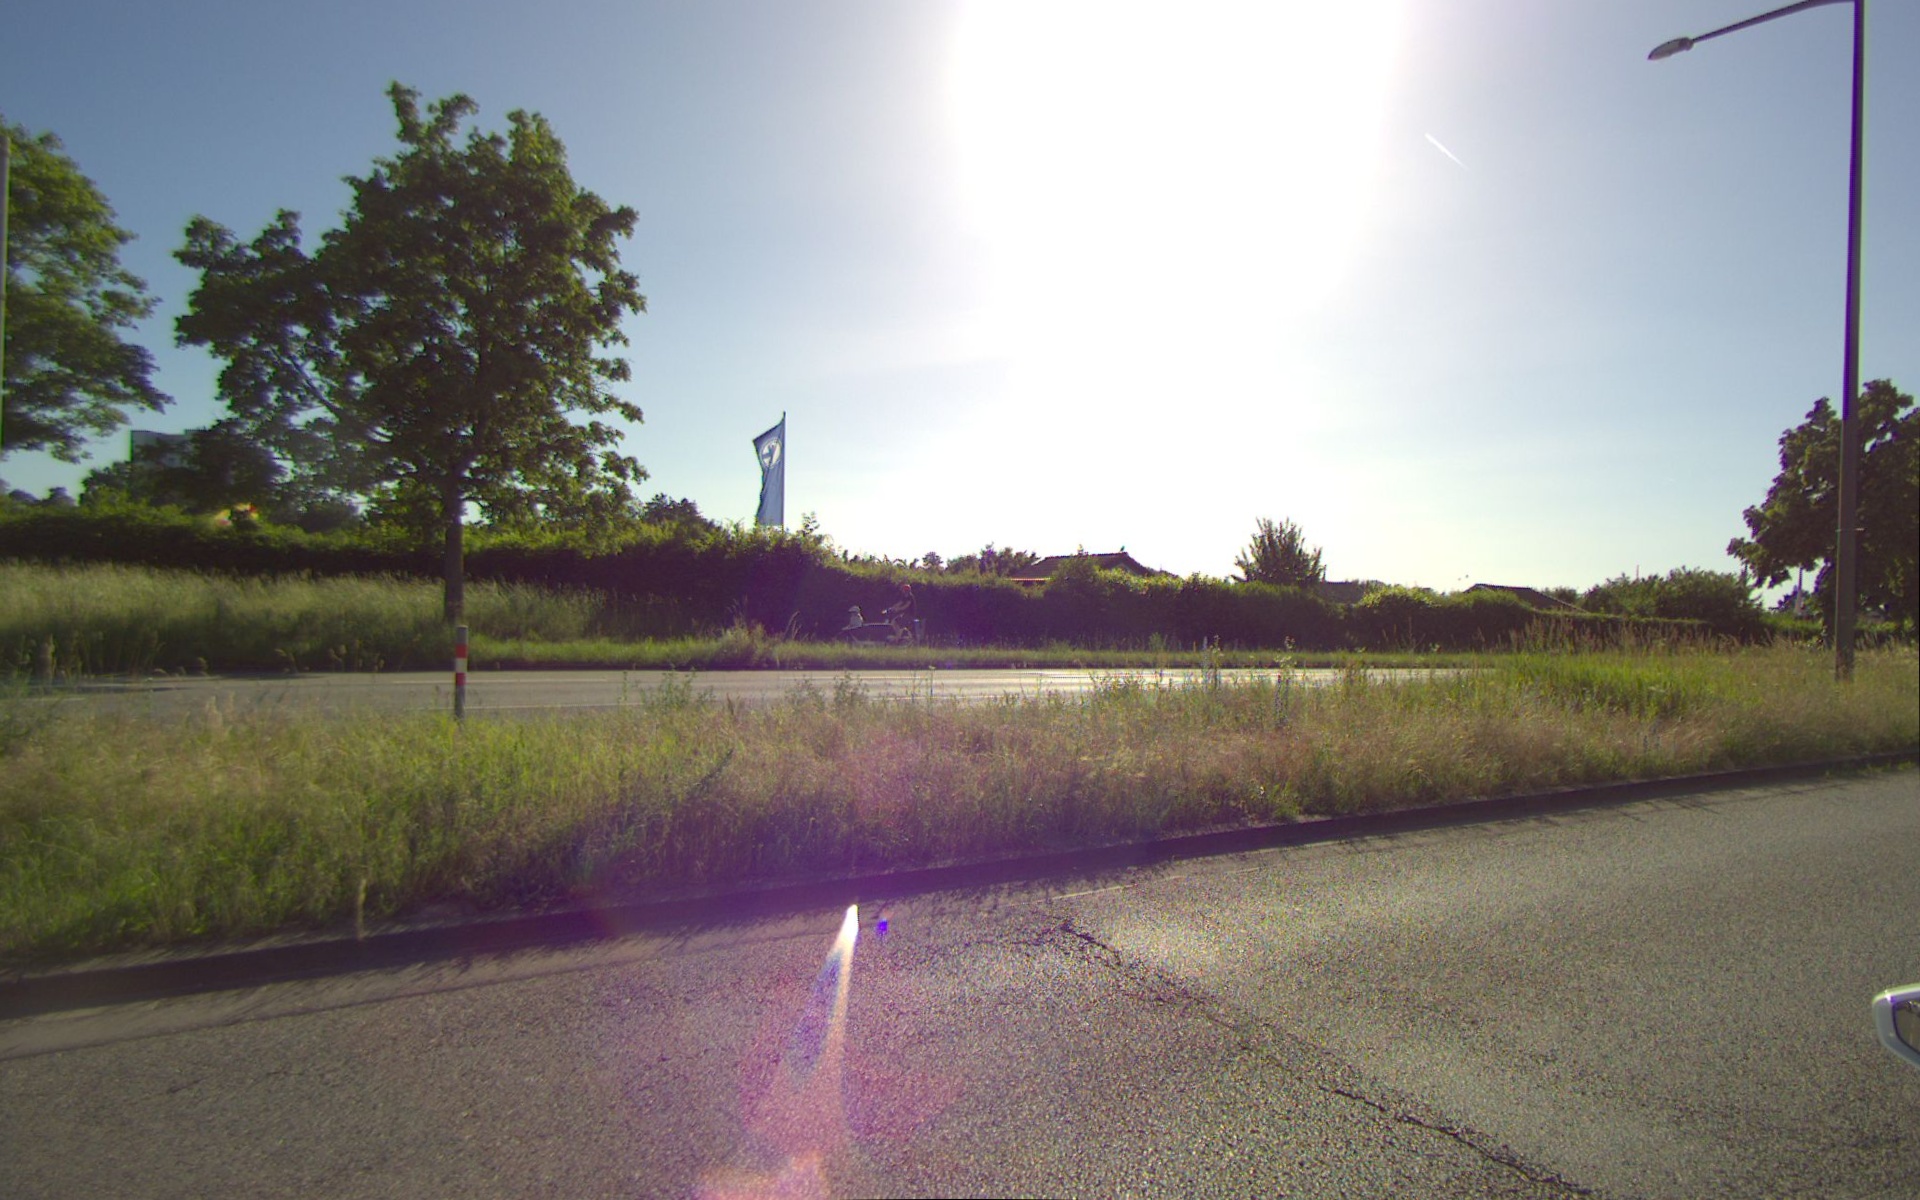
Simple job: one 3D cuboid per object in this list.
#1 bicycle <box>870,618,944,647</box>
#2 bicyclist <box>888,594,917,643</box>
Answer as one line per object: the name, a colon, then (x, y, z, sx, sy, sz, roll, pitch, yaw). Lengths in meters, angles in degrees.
bicycle: (-1.383, 0.857, 26.444, 1.849, 0.704, 0.563, 2, 1, -24)
bicyclist: (-1.517, 0.482, 26.367, 0.568, 1.273, 0.581, 2, 1, -23)
